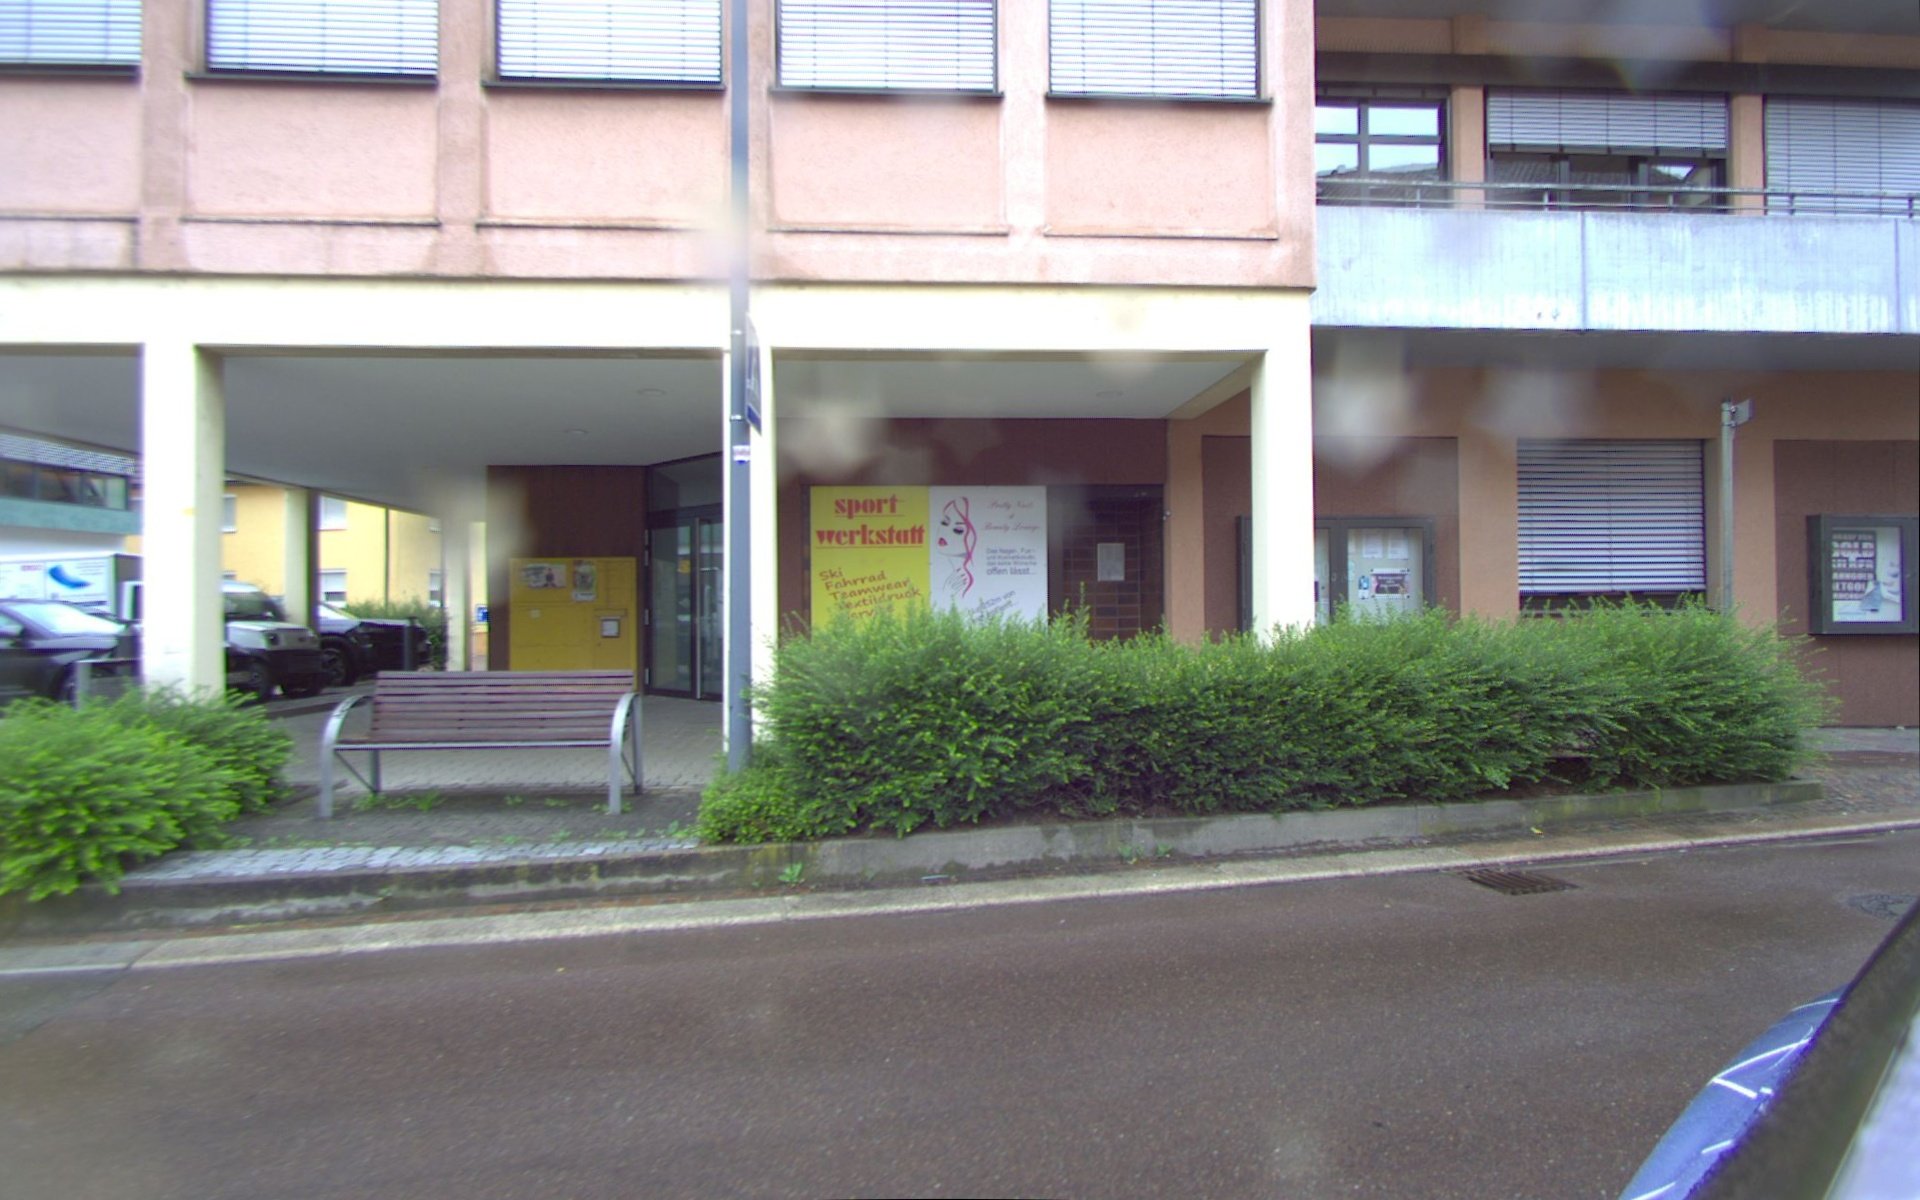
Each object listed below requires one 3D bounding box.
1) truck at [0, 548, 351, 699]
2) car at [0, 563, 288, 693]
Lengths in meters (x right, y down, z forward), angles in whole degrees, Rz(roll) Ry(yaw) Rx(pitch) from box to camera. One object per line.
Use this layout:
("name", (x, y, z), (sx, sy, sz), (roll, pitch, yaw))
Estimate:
("truck", (-10.639, 0.287, 13.524), (3.921, 1.831, 1.769), (-1, 0, -3))
("car", (-10.123, 0.294, 11.043), (4.384, 1.292, 1.769), (-1, 0, -2))
